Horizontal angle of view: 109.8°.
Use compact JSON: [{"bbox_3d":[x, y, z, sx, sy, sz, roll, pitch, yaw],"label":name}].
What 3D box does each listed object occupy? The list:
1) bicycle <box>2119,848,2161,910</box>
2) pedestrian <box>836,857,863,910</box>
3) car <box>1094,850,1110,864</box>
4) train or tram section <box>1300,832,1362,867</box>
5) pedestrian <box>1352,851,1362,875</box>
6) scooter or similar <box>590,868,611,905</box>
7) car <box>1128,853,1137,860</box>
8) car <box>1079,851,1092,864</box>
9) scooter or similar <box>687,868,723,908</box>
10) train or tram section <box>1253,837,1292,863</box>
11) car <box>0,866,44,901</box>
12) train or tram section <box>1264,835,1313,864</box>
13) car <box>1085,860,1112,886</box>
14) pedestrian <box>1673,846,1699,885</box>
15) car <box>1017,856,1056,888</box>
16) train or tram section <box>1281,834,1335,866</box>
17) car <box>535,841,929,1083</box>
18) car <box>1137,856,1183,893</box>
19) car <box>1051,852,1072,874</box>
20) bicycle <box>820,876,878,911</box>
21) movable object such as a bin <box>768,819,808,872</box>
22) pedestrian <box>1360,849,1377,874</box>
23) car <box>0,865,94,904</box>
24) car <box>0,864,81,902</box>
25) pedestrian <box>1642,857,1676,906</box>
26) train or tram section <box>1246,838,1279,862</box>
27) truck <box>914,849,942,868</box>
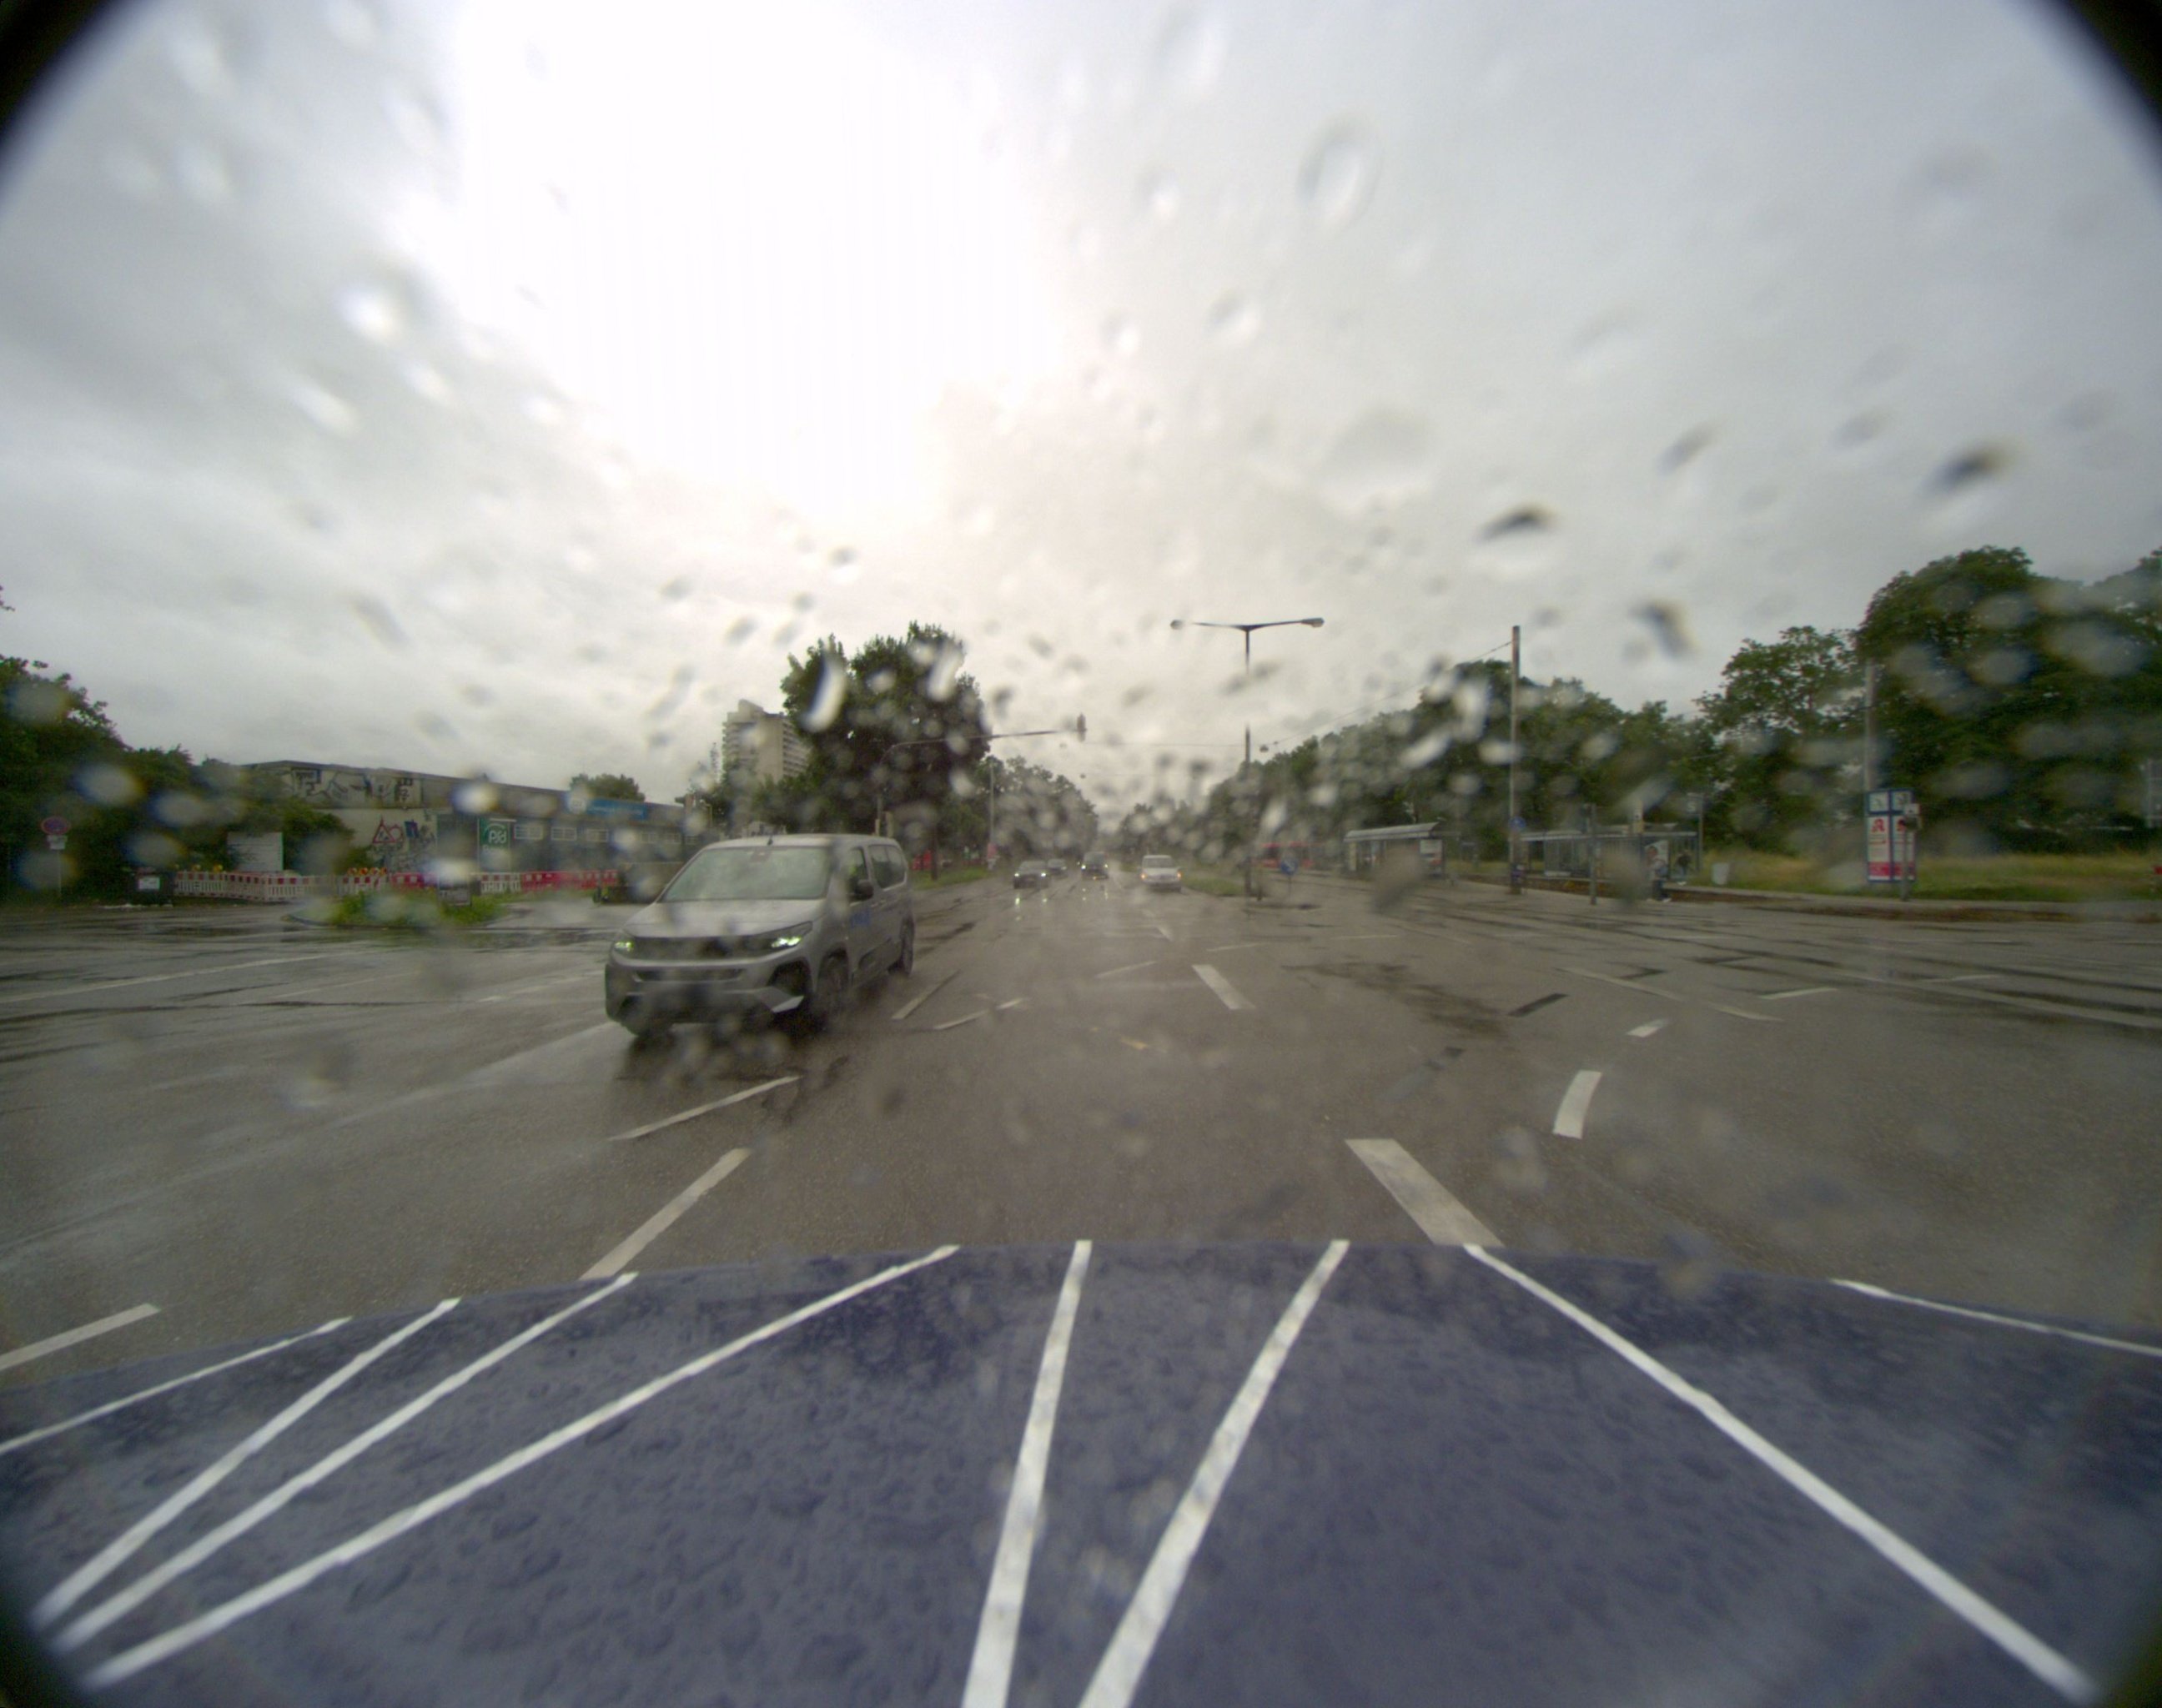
[{"bbox_3d":[31.075,0.711,21.648,0.641,1.751,1.735,0,0,2],"label":"bicycle"},{"bbox_3d":[-7.567,0.947,24.854,0.670,1.669,0.787,-1,3,-32],"label":"pedestrian"},{"bbox_3d":[2.557,0.350,92.926,1.898,1.602,4.000,-2,1,2],"label":"car"},{"bbox_3d":[25.191,-0.453,77.170,3.541,3.370,9.278,0,0,2],"label":"train or tram section"},{"bbox_3d":[18.551,0.588,51.098,0.522,1.553,0.602,-2,1,16],"label":"pedestrian"},{"bbox_3d":[-15.712,1.060,24.850,0.286,1.169,0.560,0,1,8],"label":"scooter or similar"},{"bbox_3d":[11.701,0.568,173.967,1.684,1.353,4.251,1,0,0],"label":"car"},{"bbox_3d":[0.713,0.443,107.353,1.726,1.643,3.999,-2,1,1],"label":"car"},{"bbox_3d":[-11.854,1.067,23.968,0.959,1.222,0.322,2,1,6],"label":"scooter or similar"},{"bbox_3d":[26.073,-0.549,103.623,3.541,3.392,7.903,0,0,2],"label":"train or tram section"},{"bbox_3d":[-49.182,1.395,33.367,1.698,1.501,4.006,-2,1,27],"label":"car"},{"bbox_3d":[25.777,-0.527,94.911,3.541,3.381,10.261,0,0,2],"label":"train or tram section"},{"bbox_3d":[1.249,1.318,54.962,1.812,1.683,3.777,-2,1,2],"label":"car"},{"bbox_3d":[28.180,0.534,35.415,0.631,1.782,0.681,-2,1,0],"label":"pedestrian"},{"bbox_3d":[-2.449,0.970,42.553,1.858,1.583,3.999,-2,1,0],"label":"car"},{"bbox_3d":[25.481,-0.487,85.744,3.541,3.370,9.278,0,0,2],"label":"train or tram section"},{"bbox_3d":[-3.111,0.808,8.072,1.998,1.785,4.561,-2,1,0],"label":"car"},{"bbox_3d":[3.492,0.878,34.366,1.740,1.535,4.014,-2,-1,2],"label":"car"},{"bbox_3d":[-1.570,0.675,61.816,1.651,1.652,3.776,-2,1,-1],"label":"car"},{"bbox_3d":[-7.589,1.266,24.860,1.667,1.032,0.787,-1,3,-32],"label":"bicycle"},{"bbox_3d":[-25.028,-0.723,64.977,1.557,4.401,3.909,-2,1,3],"label":"movable object such as a bin"},{"bbox_3d":[18.496,0.463,48.909,0.806,1.588,0.929,-1,1,4],"label":"pedestrian"},{"bbox_3d":[-44.866,1.310,31.819,1.698,1.501,4.006,-2,1,27],"label":"car"},{"bbox_3d":[-46.714,1.304,32.657,1.802,1.563,4.218,-2,1,27],"label":"car"},{"bbox_3d":[19.902,0.936,26.155,0.802,1.648,0.784,-1,2,44],"label":"pedestrian"},{"bbox_3d":[26.285,-0.582,110.072,3.541,3.398,5.770,0,0,2],"label":"train or tram section"},{"bbox_3d":[-25.578,0.712,127.356,2.811,2.882,8.749,-2,1,1],"label":"truck"}]
